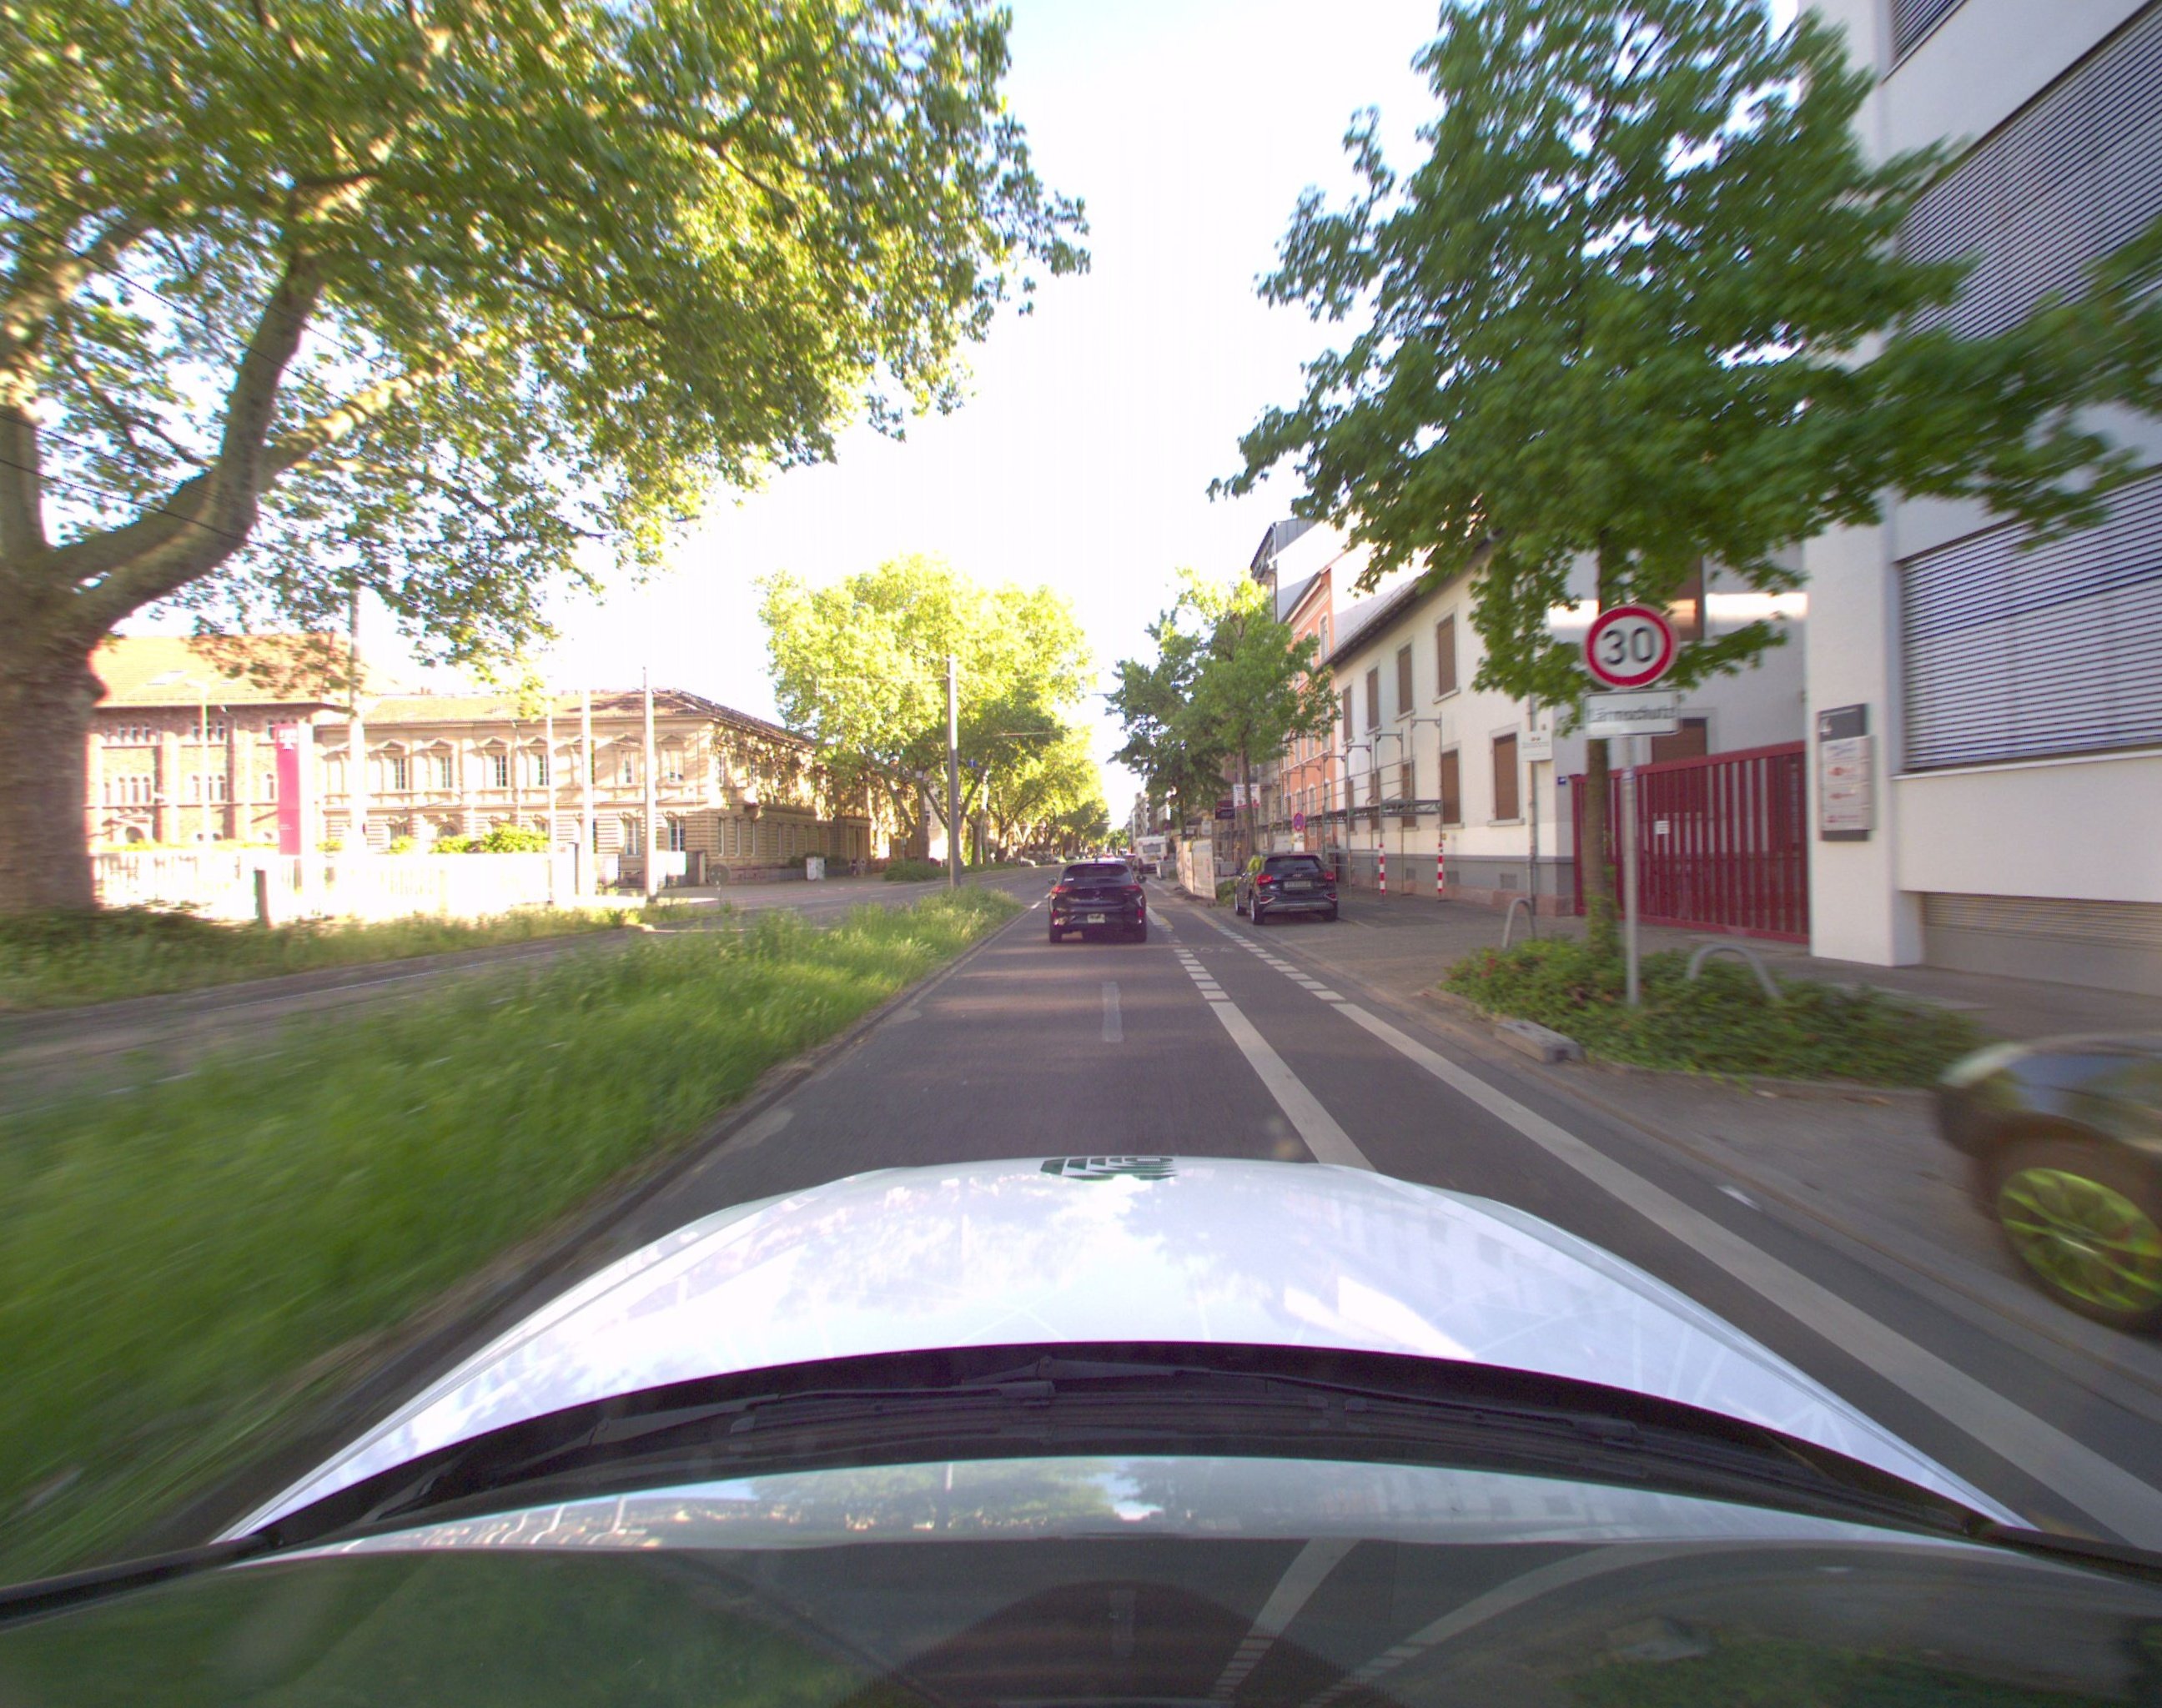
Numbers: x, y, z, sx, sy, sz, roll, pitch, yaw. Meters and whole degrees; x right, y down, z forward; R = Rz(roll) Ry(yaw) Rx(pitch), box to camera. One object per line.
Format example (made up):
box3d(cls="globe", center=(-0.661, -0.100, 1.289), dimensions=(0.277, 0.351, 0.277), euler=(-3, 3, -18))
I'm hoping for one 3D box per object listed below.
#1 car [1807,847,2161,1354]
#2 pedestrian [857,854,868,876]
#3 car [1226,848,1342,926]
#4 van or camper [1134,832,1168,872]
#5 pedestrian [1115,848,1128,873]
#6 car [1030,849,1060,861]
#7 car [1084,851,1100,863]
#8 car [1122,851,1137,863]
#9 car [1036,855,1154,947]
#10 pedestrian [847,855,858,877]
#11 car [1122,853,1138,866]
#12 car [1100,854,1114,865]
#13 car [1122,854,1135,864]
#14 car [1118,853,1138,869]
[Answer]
box3d(cls="car", center=(3.933, 0.714, 1.443), dimensions=(1.680, 1.420, 4.048), euler=(-2, 0, 0))
box3d(cls="pedestrian", center=(-16.927, 0.841, 63.040), dimensions=(0.656, 1.622, 0.616), euler=(1, 0, 1))
box3d(cls="car", center=(4.452, 0.656, 18.463), dimensions=(1.783, 1.510, 3.877), euler=(-3, 0, 3))
box3d(cls="van or camper", center=(5.514, -0.186, 64.721), dimensions=(2.476, 2.993, 5.439), euler=(1, 0, 3))
box3d(cls="pedestrian", center=(3.296, 0.537, 66.332), dimensions=(1.032, 2.024, 1.213), euler=(-1, 0, 1))
box3d(cls="car", center=(-7.164, 0.194, 161.162), dimensions=(5.665, 2.197, 2.290), euler=(-1, 0, 2))
box3d(cls="car", center=(1.472, 0.414, 106.970), dimensions=(1.783, 1.510, 3.877), euler=(-3, 0, 3))
box3d(cls="car", center=(6.615, 0.393, 111.100), dimensions=(1.897, 1.425, 4.219), euler=(-1, 1, 3))
box3d(cls="car", center=(0.356, 0.777, 15.461), dimensions=(1.897, 1.425, 4.219), euler=(-1, 1, 3))
box3d(cls="pedestrian", center=(-17.644, 0.923, 62.812), dimensions=(0.616, 1.733, 0.596), euler=(1, 0, 1))
box3d(cls="car", center=(5.923, 0.628, 98.604), dimensions=(1.897, 1.425, 4.219), euler=(-1, 1, 3))
box3d(cls="car", center=(3.816, 0.820, 120.526), dimensions=(1.897, 1.425, 4.219), euler=(-1, 1, 3))
box3d(cls="car", center=(7.163, 0.729, 122.116), dimensions=(1.897, 1.425, 4.219), euler=(-1, 1, 3))
box3d(cls="car", center=(4.615, 0.679, 79.319), dimensions=(1.897, 1.425, 4.219), euler=(-1, 1, 3))
